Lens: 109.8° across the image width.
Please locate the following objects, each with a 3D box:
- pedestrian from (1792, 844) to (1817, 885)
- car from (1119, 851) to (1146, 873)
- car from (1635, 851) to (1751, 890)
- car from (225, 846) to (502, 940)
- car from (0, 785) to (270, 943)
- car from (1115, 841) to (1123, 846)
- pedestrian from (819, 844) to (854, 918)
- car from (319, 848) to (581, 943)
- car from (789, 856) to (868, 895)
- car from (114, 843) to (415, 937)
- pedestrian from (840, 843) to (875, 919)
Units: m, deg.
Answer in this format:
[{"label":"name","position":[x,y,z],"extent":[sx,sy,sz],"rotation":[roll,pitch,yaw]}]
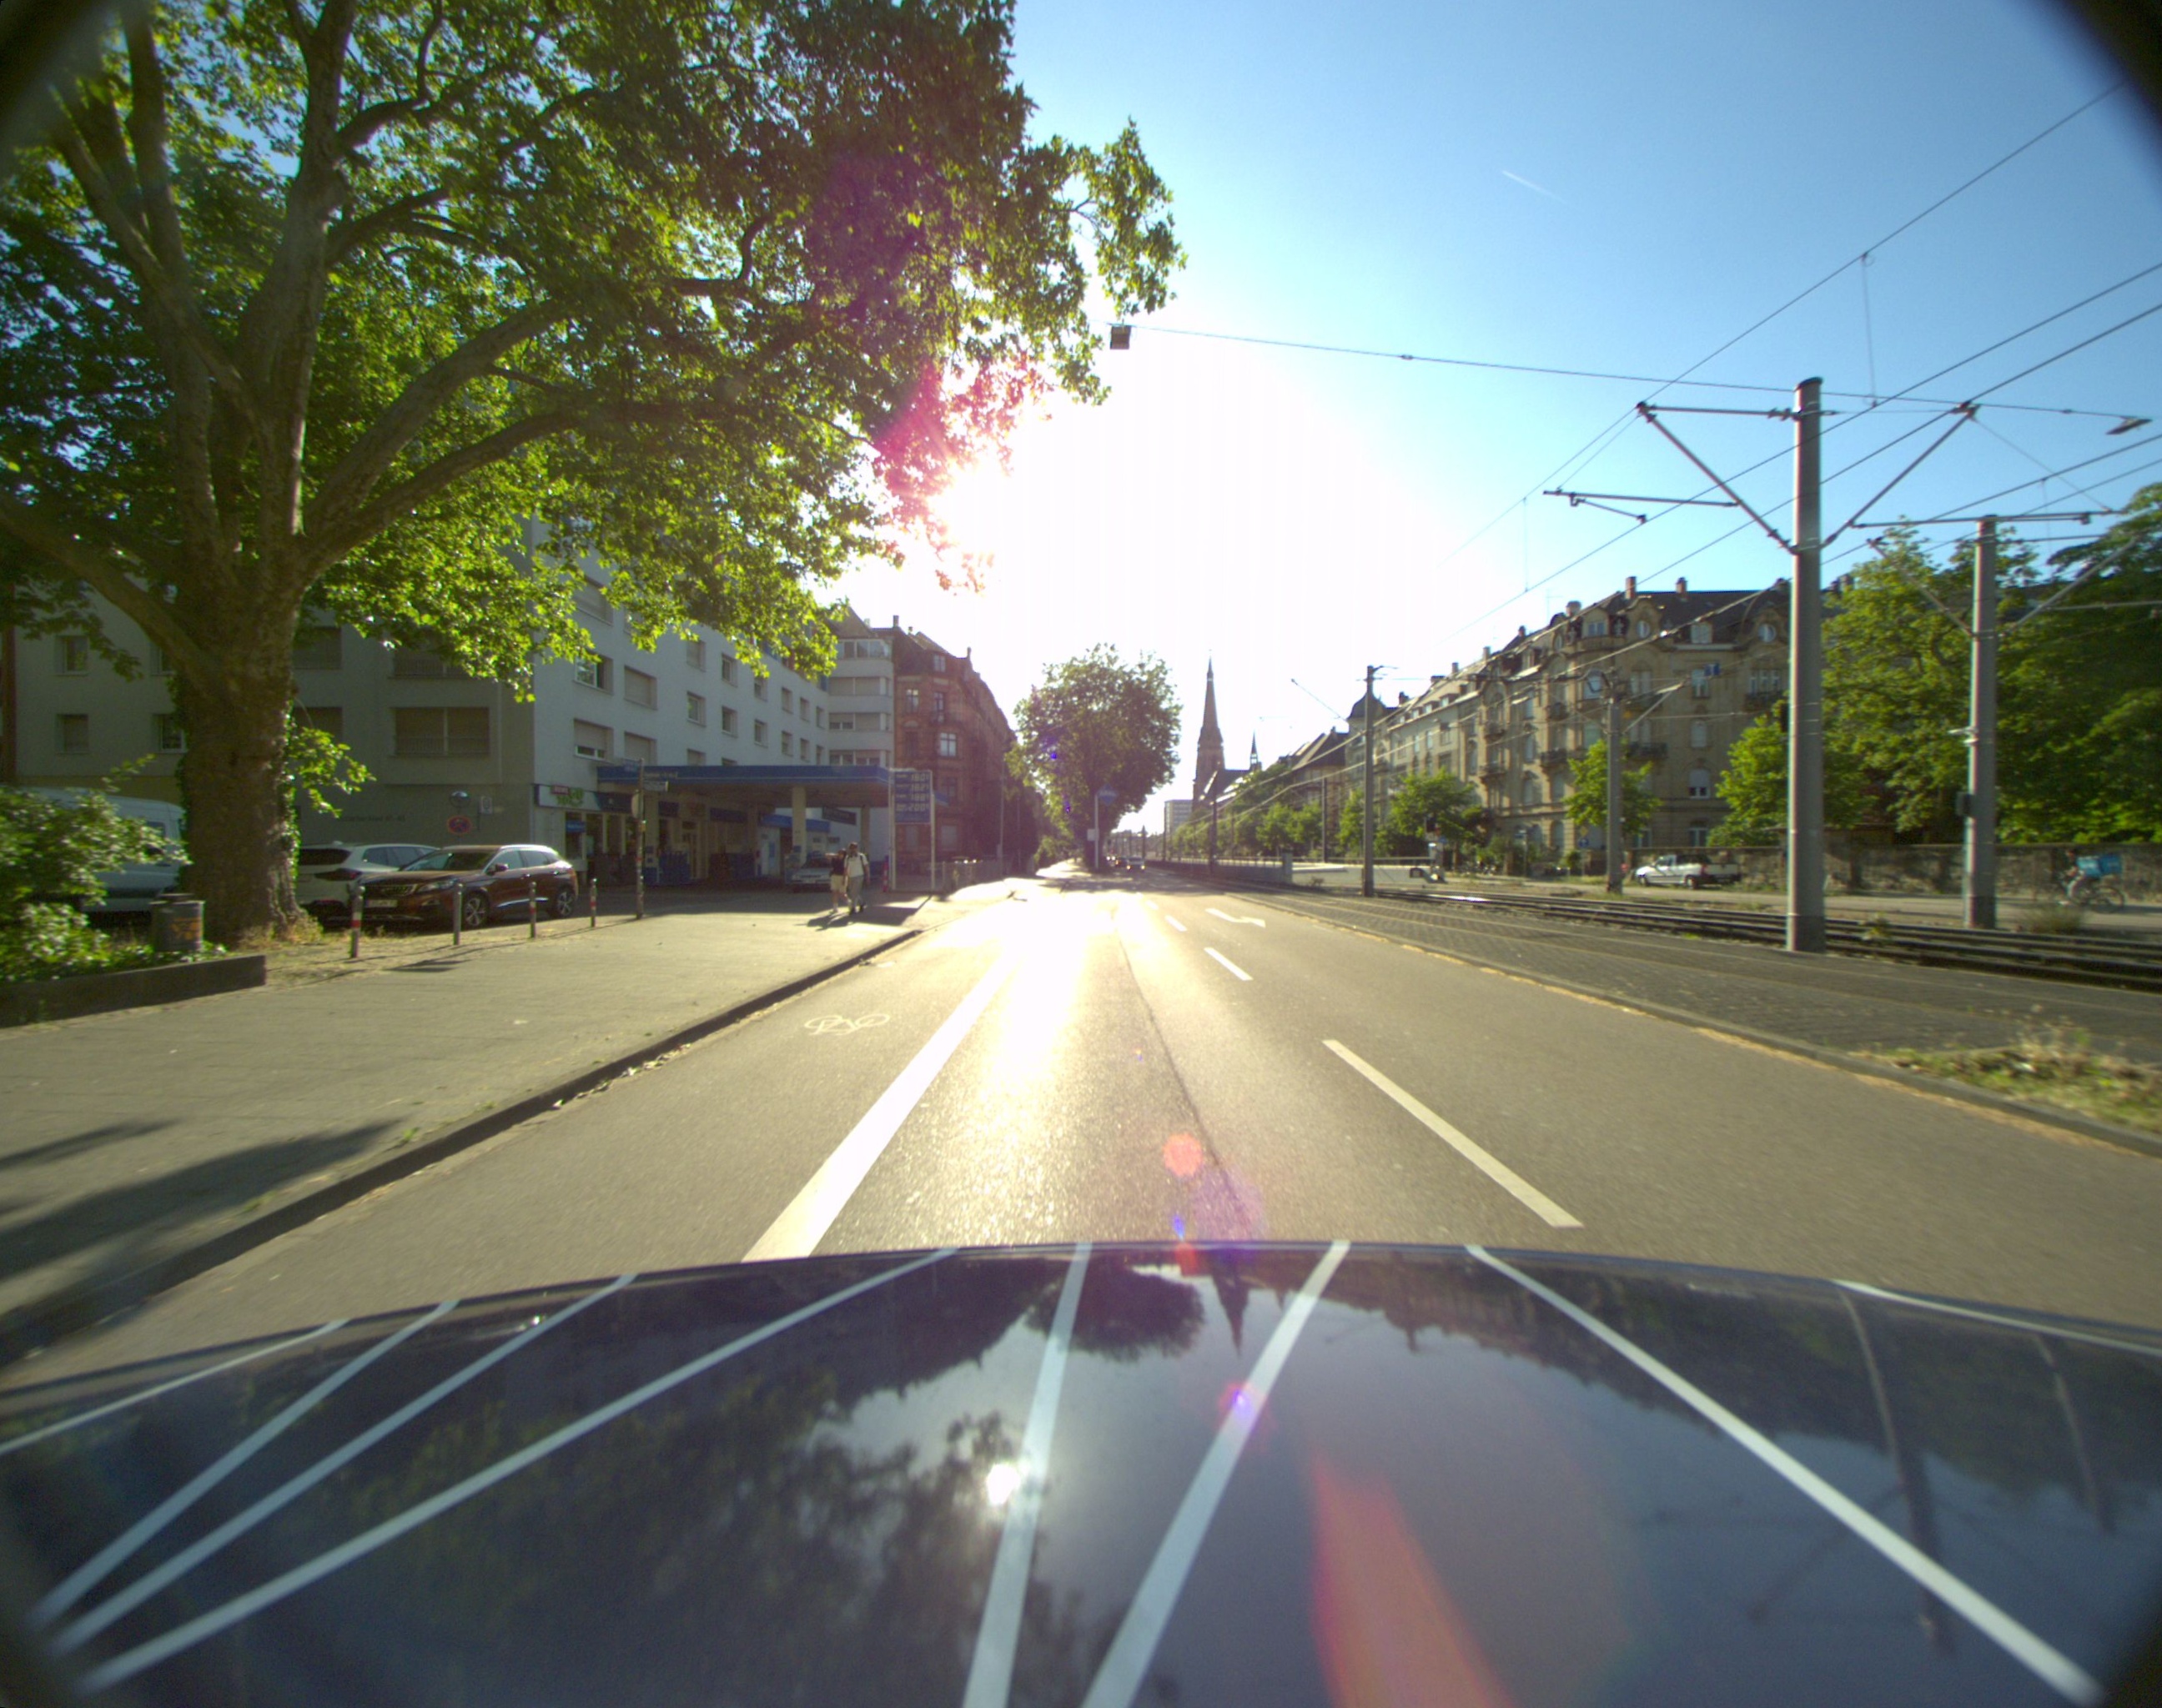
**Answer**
[{"label":"pedestrian","position":[29.096,0.413,30.571],"extent":[0.650,1.612,0.469],"rotation":[-1,1,34]},{"label":"car","position":[4.948,0.717,73.548],"extent":[2.315,1.957,4.789],"rotation":[1,1,1]},{"label":"car","position":[27.039,0.675,33.770],"extent":[1.786,1.521,4.213],"rotation":[-2,1,1]},{"label":"car","position":[-14.317,0.700,15.581],"extent":[1.807,1.649,4.179],"rotation":[-1,0,-3]},{"label":"car","position":[-19.625,0.192,14.989],"extent":[1.998,2.726,4.714],"rotation":[-2,1,1]},{"label":"car","position":[10.717,-2.979,214.447],"extent":[1.777,1.400,3.999],"rotation":[-2,1,0]},{"label":"pedestrian","position":[-6.171,0.668,19.191],"extent":[0.631,1.833,0.540],"rotation":[-2,1,-2]},{"label":"car","position":[-12.168,0.714,15.093],"extent":[1.807,1.591,4.179],"rotation":[-1,0,-3]},{"label":"car","position":[-9.726,0.780,29.583],"extent":[1.721,1.319,3.753],"rotation":[-2,1,0]},{"label":"car","position":[-16.518,0.660,15.767],"extent":[1.807,1.649,4.179],"rotation":[-1,0,-3]},{"label":"pedestrian","position":[-5.533,0.648,18.832],"extent":[0.631,1.833,0.540],"rotation":[-2,1,-2]}]
